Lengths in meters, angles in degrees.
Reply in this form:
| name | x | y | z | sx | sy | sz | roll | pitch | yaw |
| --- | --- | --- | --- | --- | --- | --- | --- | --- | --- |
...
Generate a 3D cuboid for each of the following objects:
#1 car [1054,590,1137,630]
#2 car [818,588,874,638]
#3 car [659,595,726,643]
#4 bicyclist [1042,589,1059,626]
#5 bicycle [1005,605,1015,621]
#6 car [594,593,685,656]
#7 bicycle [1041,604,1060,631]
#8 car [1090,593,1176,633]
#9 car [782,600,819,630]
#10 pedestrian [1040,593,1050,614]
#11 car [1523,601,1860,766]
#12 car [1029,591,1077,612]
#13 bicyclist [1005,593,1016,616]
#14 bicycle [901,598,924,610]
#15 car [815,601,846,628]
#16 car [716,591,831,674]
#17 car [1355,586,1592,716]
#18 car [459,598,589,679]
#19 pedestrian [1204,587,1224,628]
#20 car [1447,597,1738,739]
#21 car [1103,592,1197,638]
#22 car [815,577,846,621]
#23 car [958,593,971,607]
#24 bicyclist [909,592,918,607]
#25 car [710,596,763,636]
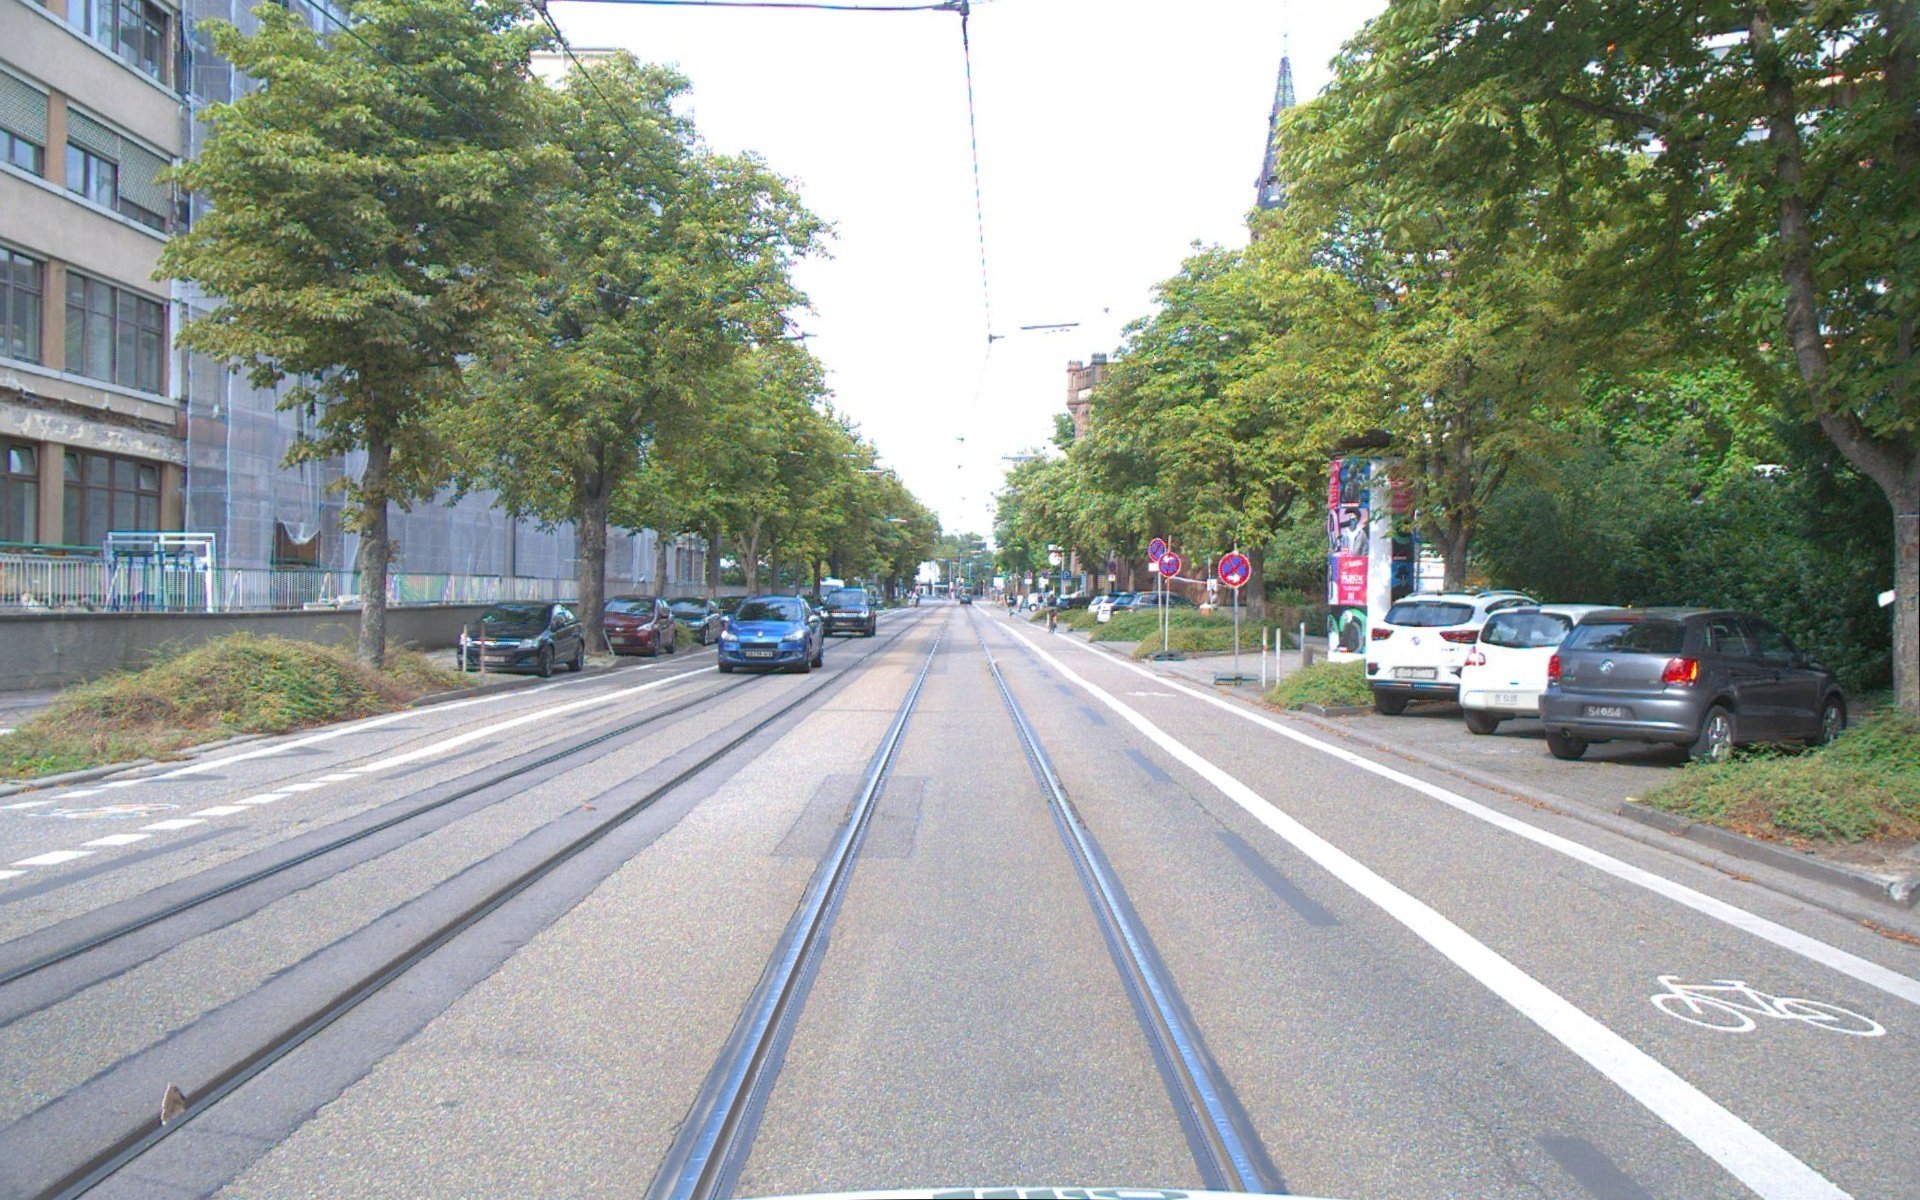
| name | x | y | z | sx | sy | sz | roll | pitch | yaw |
| --- | --- | --- | --- | --- | --- | --- | --- | --- | --- |
| car | 5.794 | 0.433 | 70.520 | 1.654 | 1.630 | 3.621 | 0 | 0 | 44 |
| car | -3.950 | 0.427 | 57.947 | 1.697 | 1.657 | 4.377 | 0 | 0 | -1 |
| car | -8.357 | 0.564 | 51.887 | 1.558 | 1.427 | 3.961 | 1 | 0 | -2 |
| bicyclist | 3.661 | 0.308 | 67.095 | 0.581 | 1.485 | 0.875 | 1 | 0 | -2 |
| bicycle | 3.410 | 0.859 | 112.255 | 0.650 | 1.062 | 1.841 | 1 | 0 | 0 |
| car | -8.214 | 0.595 | 42.689 | 1.602 | 1.522 | 3.962 | 1 | 0 | -1 |
| bicycle | 3.652 | 0.708 | 67.093 | 0.581 | 1.062 | 1.977 | 1 | 0 | -2 |
| car | 7.180 | 0.545 | 68.392 | 1.654 | 1.630 | 3.621 | 0 | 0 | 44 |
| car | -7.949 | 0.722 | 82.722 | 1.558 | 1.427 | 3.961 | 1 | 0 | -2 |
| pedestrian | 7.411 | 0.318 | 144.431 | 0.732 | 1.821 | 0.731 | 1 | -1 | 15 |
| car | 7.311 | 0.759 | 16.409 | 3.612 | 1.444 | 1.658 | 1 | 0 | -40 |
| car | 8.144 | 0.118 | 144.773 | 3.910 | 1.722 | 1.998 | 1 | 0 | -6 |
| bicyclist | 3.422 | 0.289 | 112.259 | 0.645 | 1.522 | 0.929 | 1 | 0 | 0 |
| bicycle | -4.893 | 0.417 | 169.698 | 2.226 | 1.210 | 0.769 | 1 | 0 | 8 |
| car | -7.239 | 0.784 | 92.926 | 1.558 | 1.427 | 3.961 | 1 | 0 | -2 |
| car | -3.664 | 0.603 | 33.157 | 1.696 | 1.522 | 4.379 | 0 | 1 | 2 |
| car | 7.057 | 0.654 | 22.549 | 1.654 | 1.630 | 3.621 | 0 | 0 | 44 |
| car | -8.367 | 0.694 | 32.027 | 1.558 | 1.427 | 3.961 | 1 | 0 | -2 |
| pedestrian | 11.576 | 0.342 | 75.265 | 0.769 | 1.858 | 0.662 | 1 | 0 | 20 |
| car | 7.443 | 0.737 | 19.338 | 3.612 | 1.500 | 1.658 | 1 | 0 | -40 |
| car | 7.084 | 0.564 | 61.496 | 1.654 | 1.630 | 3.621 | 0 | 0 | 44 |
| car | -8.279 | -0.060 | 106.268 | 1.686 | 2.751 | 5.468 | 1 | 0 | -2 |
| car | 0.650 | -0.017 | 234.994 | 1.758 | 1.855 | 4.677 | 1 | 0 | -1 |
| bicyclist | -4.785 | -0.063 | 169.690 | 0.828 | 1.531 | 0.769 | 1 | 0 | 7 |
| car | -8.383 | 0.573 | 62.199 | 1.558 | 1.427 | 3.961 | 1 | 0 | -2 |
